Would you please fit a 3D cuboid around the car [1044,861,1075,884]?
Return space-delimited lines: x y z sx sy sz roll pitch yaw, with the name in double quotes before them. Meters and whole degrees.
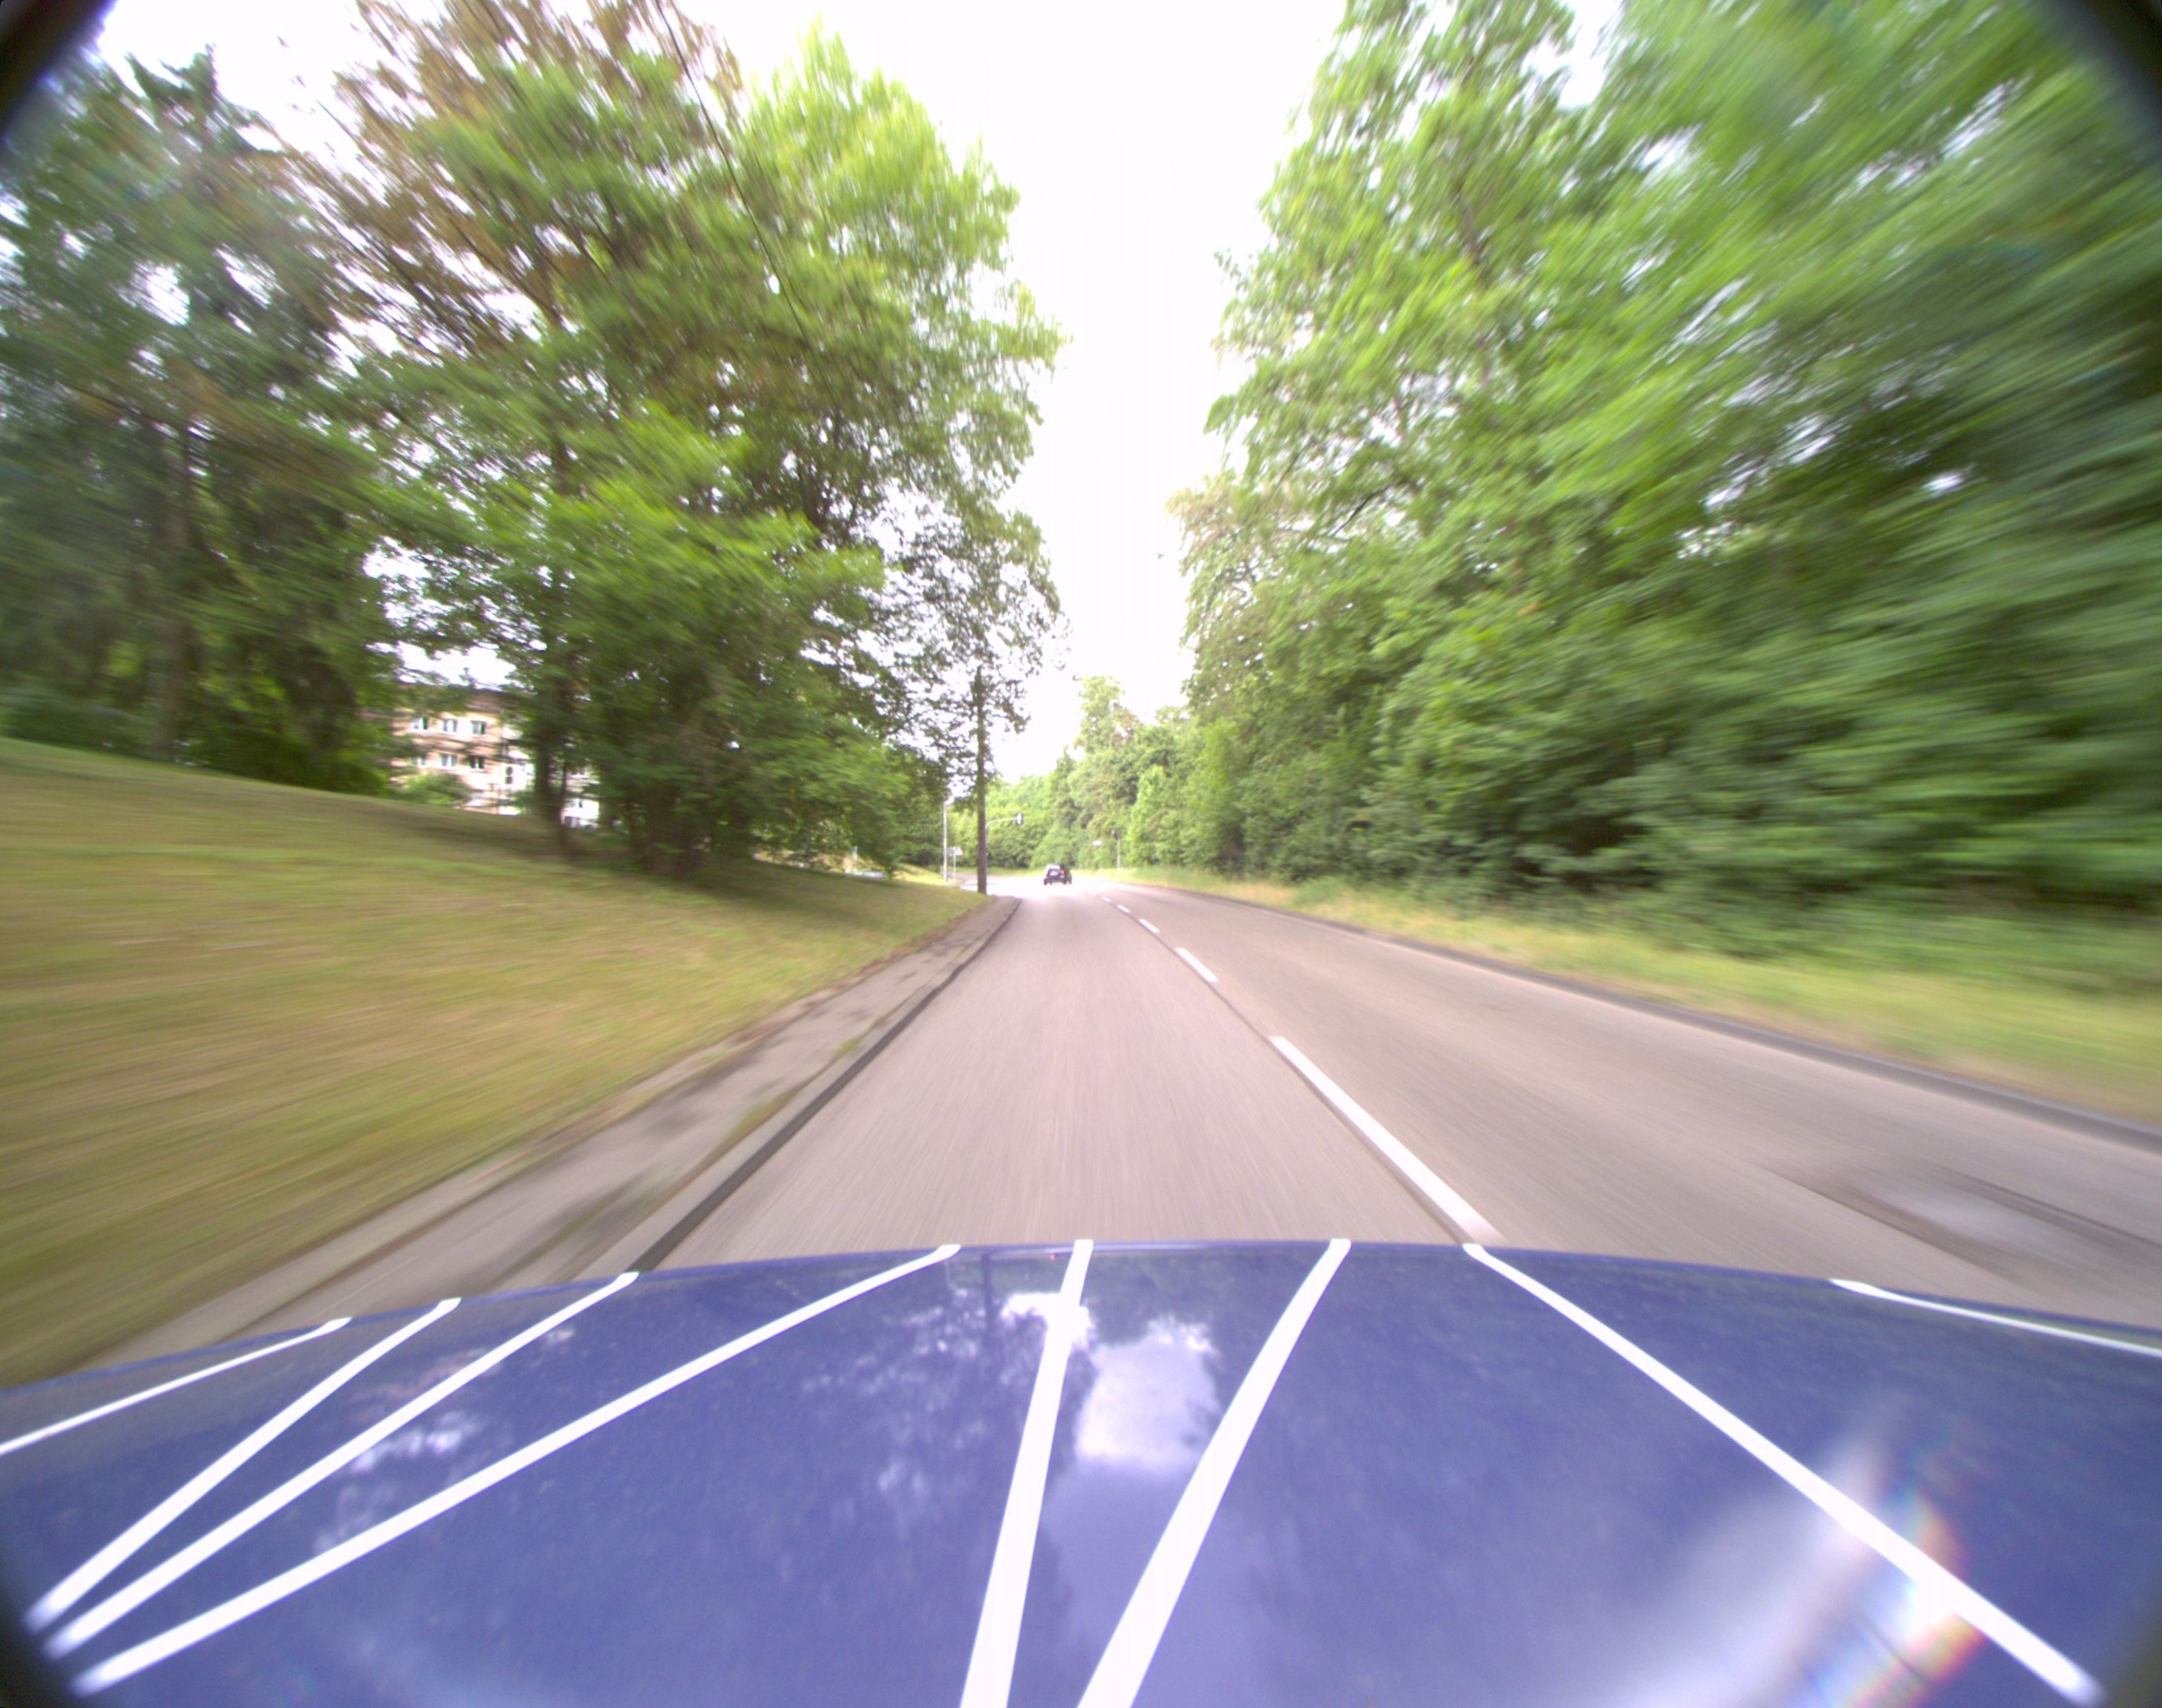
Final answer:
"car" -1.492 1.286 55.014 1.665 1.486 3.316 -1 1 8
